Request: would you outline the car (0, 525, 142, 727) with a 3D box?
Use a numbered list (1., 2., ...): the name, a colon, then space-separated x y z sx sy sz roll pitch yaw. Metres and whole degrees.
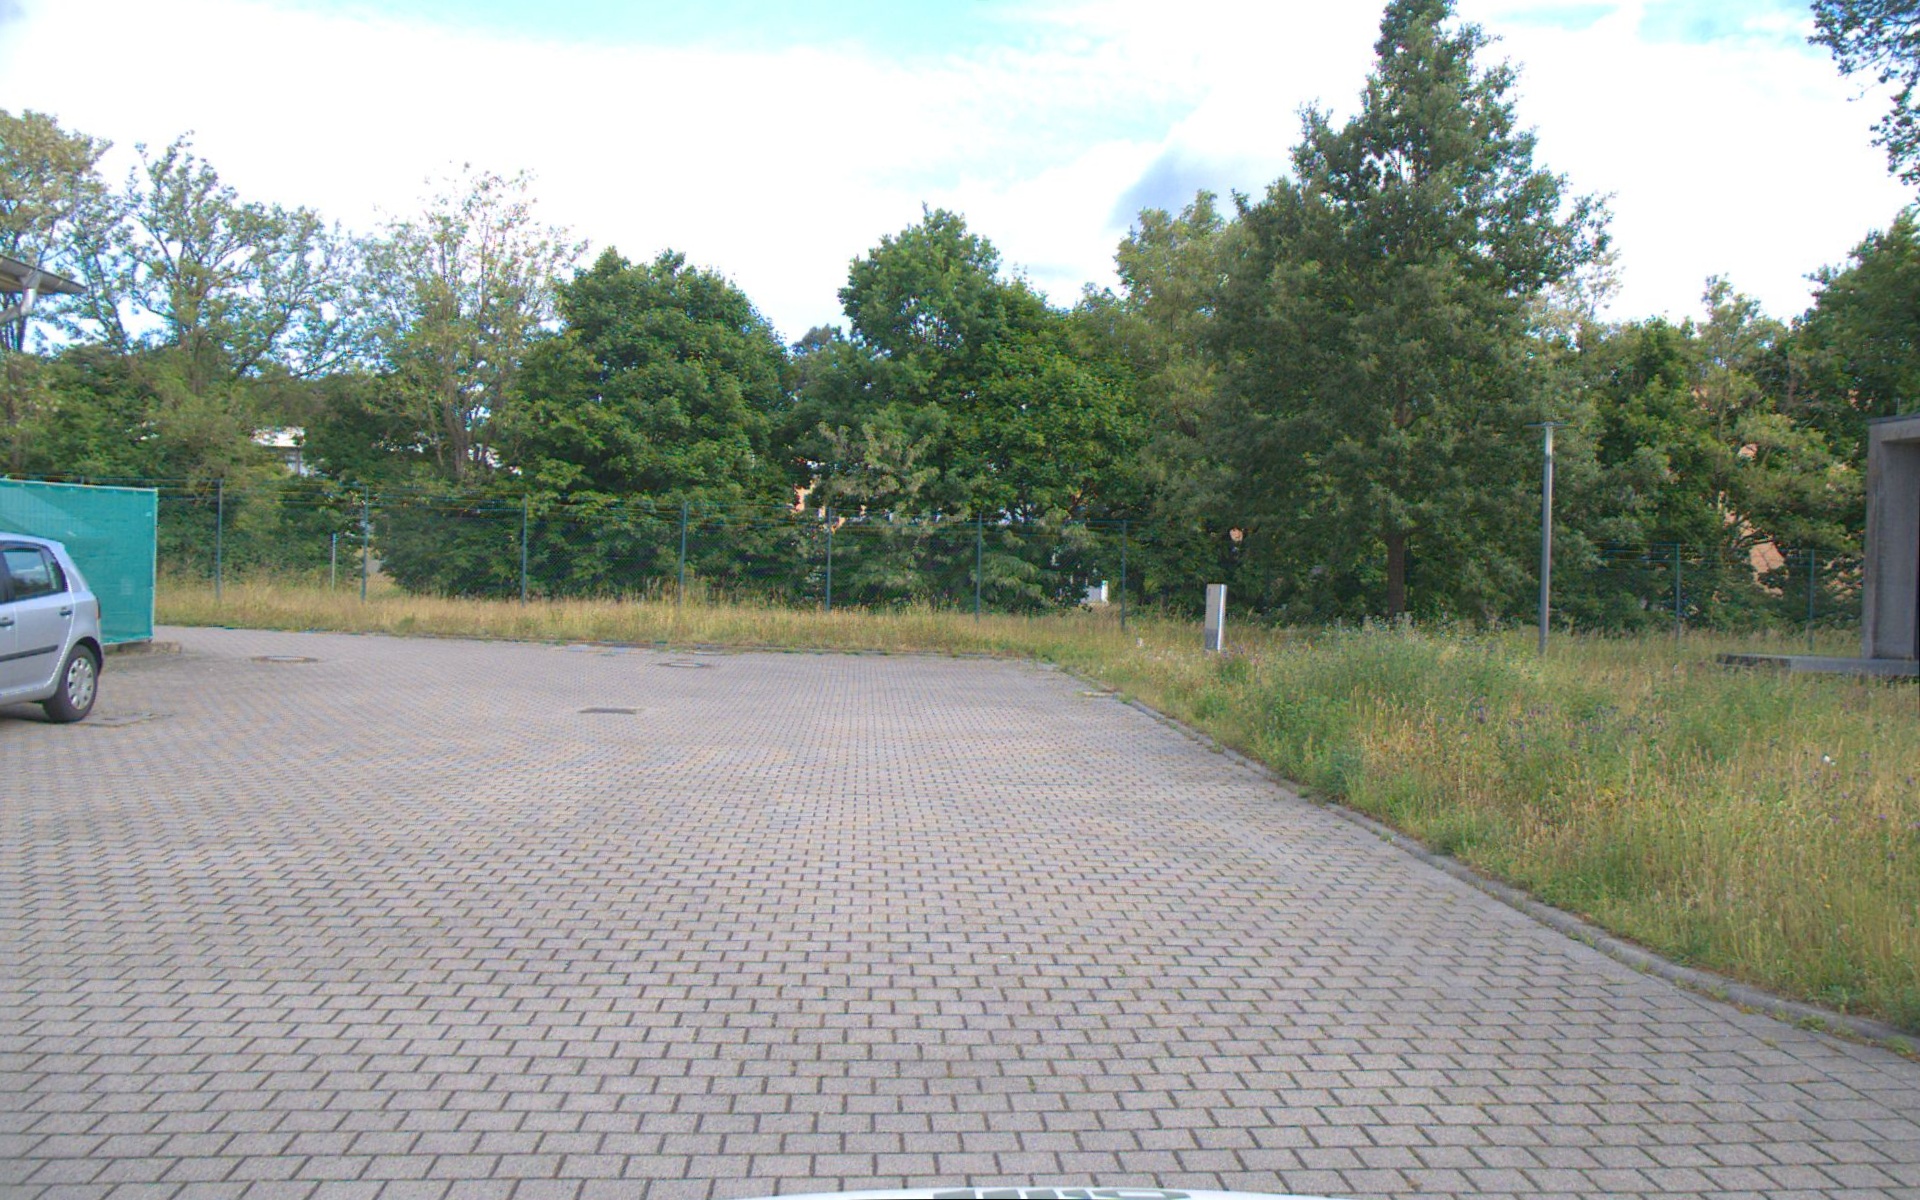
1. car: -7.897 0.155 12.127 1.887 1.464 4.364 2 1 -5
